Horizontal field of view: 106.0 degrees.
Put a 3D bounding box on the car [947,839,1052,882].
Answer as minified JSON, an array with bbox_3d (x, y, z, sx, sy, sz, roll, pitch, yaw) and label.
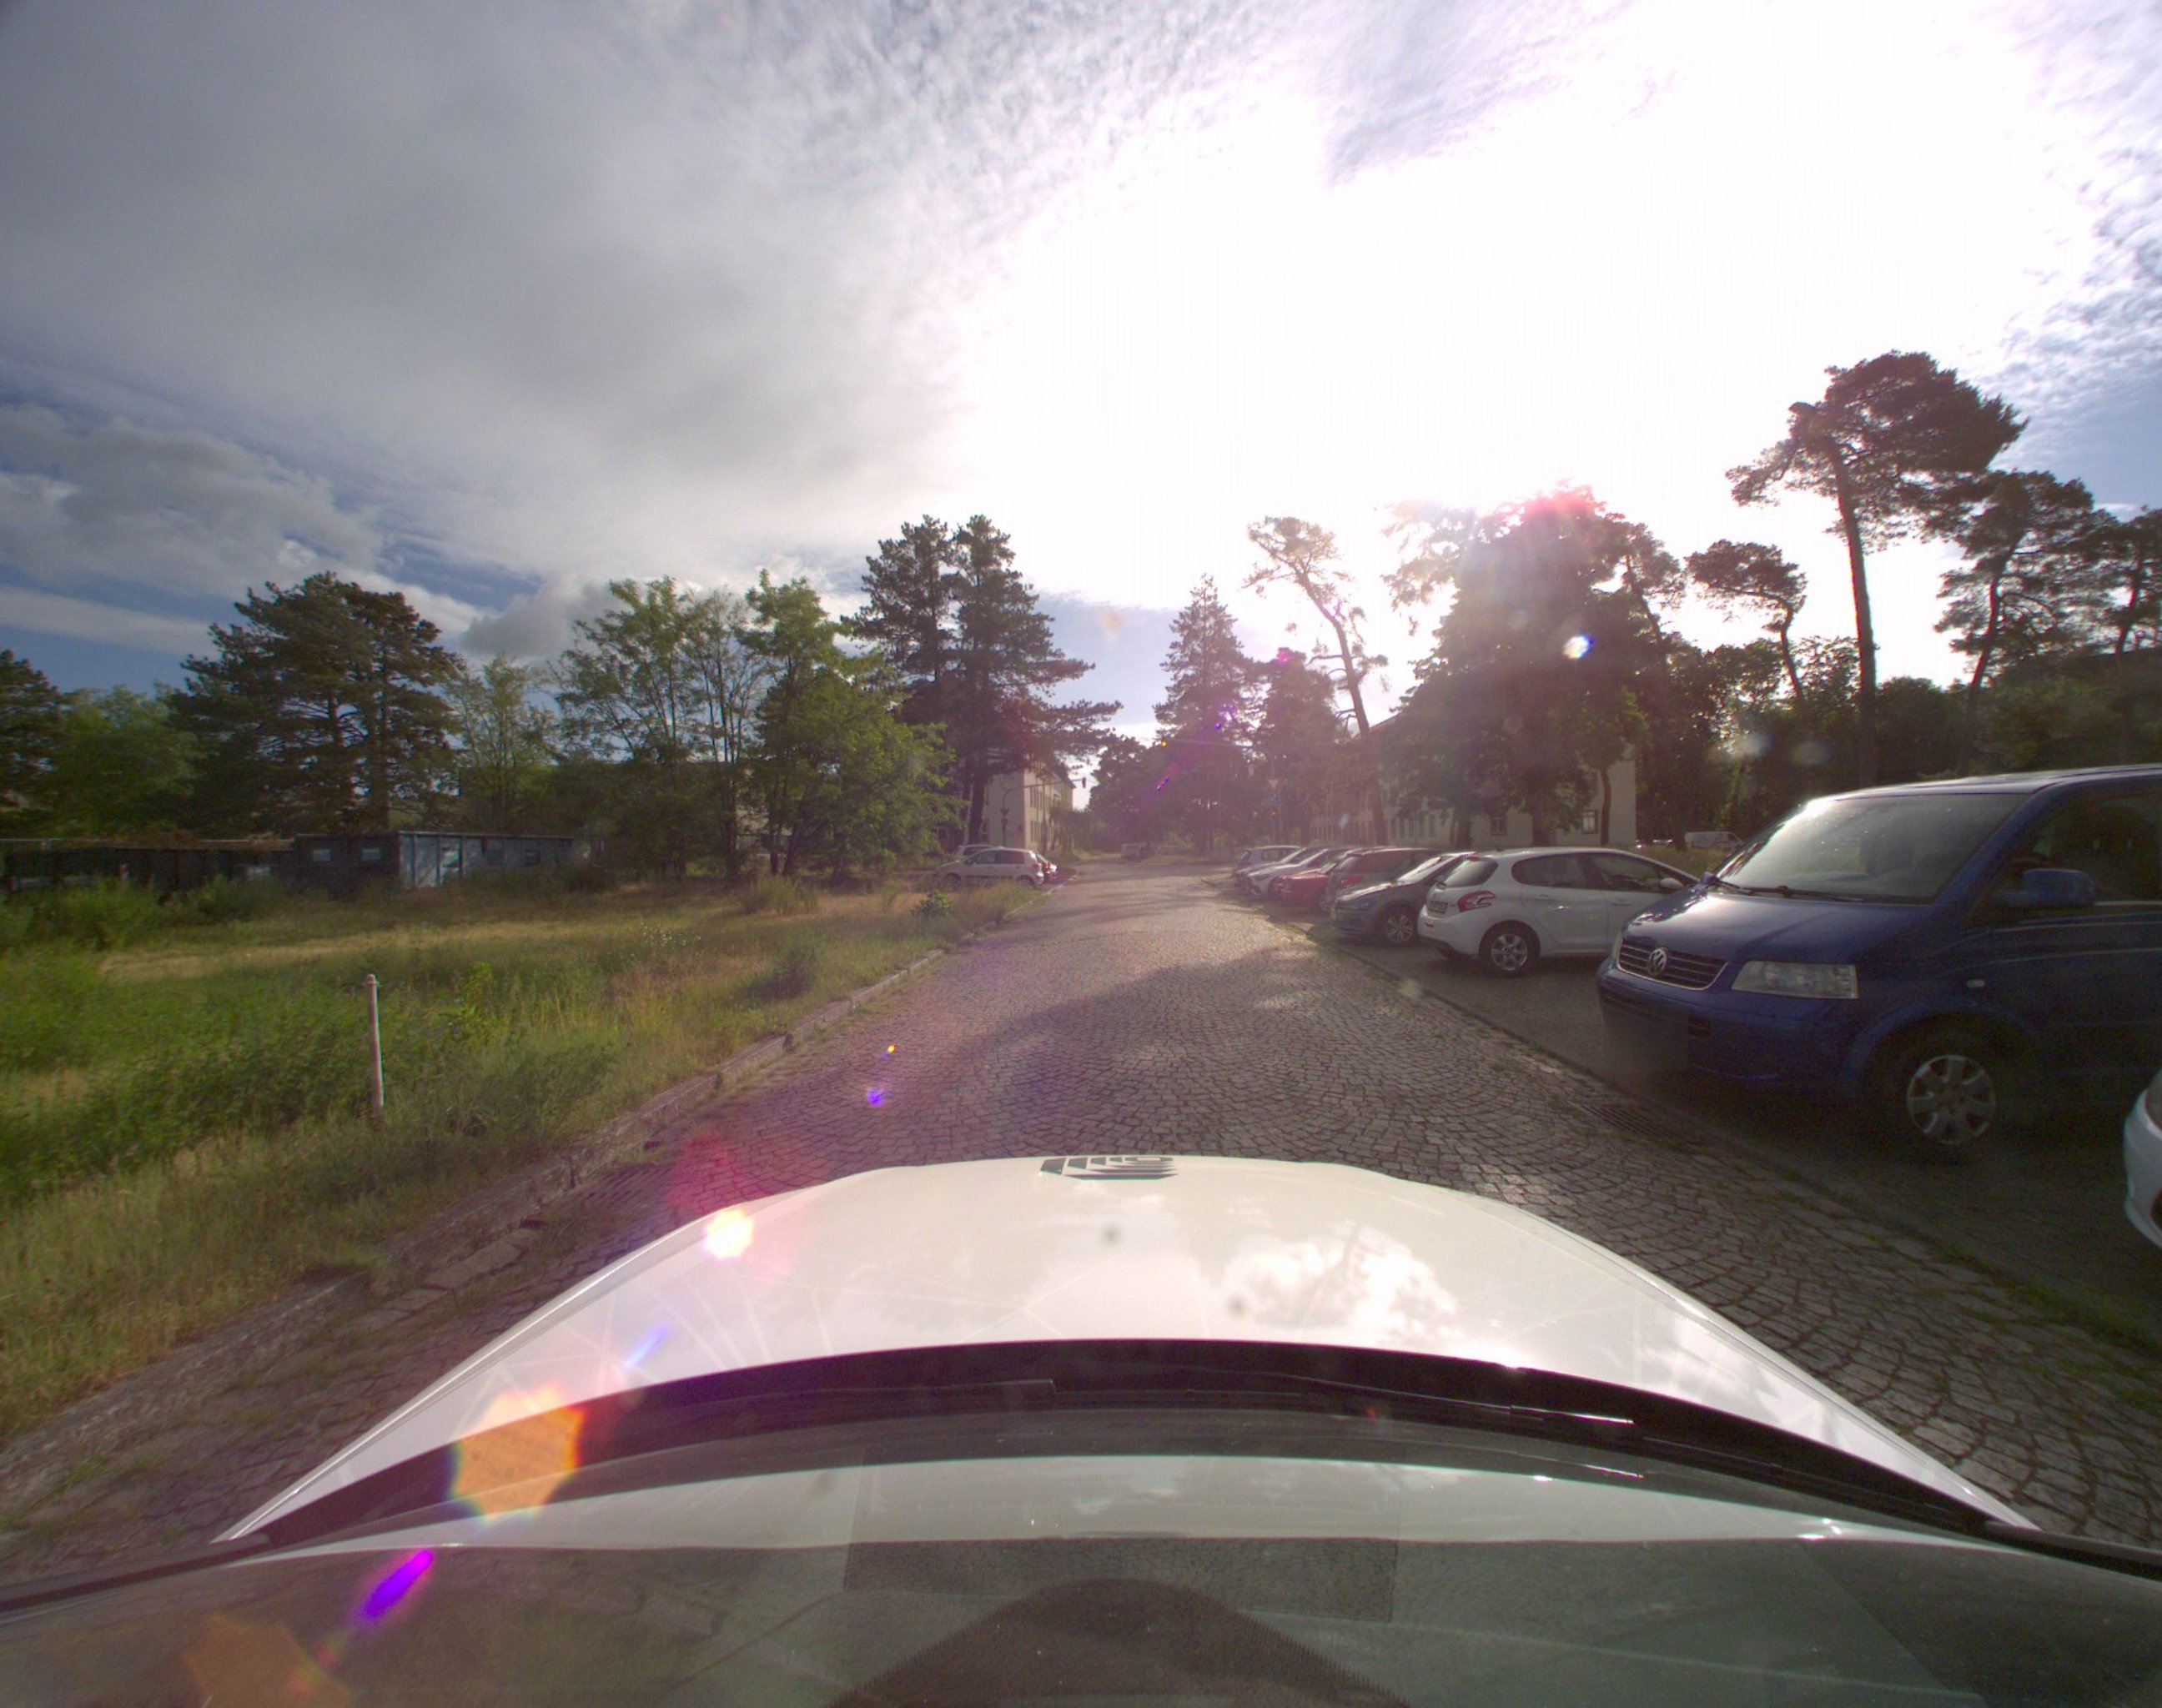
[{"bbox_3d":[-3.311,0.262,33.618,4.110,1.599,1.858,2,0,-2],"label":"car"}]

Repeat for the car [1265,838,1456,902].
[{"bbox_3d":[7.096,0.404,21.008,4.323,1.473,1.741,-2,0,2],"label":"car"}]

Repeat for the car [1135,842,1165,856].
[{"bbox_3d":[7.799,-0.573,92.228,3.032,1.465,1.714,-1,-1,-10],"label":"car"}]

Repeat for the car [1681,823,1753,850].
[{"bbox_3d":[62.005,-1.692,79.453,5.135,2.535,2.267,-1,0,4],"label":"car"}]

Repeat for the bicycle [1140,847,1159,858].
[{"bbox_3d":[6.822,-0.157,80.903,1.786,0.999,0.644,-1,1,1],"label":"bicycle"}]

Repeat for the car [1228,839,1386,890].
[{"bbox_3d":[7.147,0.323,26.063,4.494,1.473,1.894,-2,0,-1],"label":"car"}]

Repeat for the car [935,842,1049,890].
[{"bbox_3d":[-3.021,0.393,28.247,3.670,1.473,1.850,2,0,1],"label":"car"}]

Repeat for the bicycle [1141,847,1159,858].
[{"bbox_3d":[6.768,-0.156,79.883,1.786,0.999,0.644,-1,1,1],"label":"bicycle"}]

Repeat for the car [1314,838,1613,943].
[{"bbox_3d":[5.969,0.547,13.103,3.934,1.467,1.832,-2,0,3],"label":"car"}]

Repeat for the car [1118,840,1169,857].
[{"bbox_3d":[7.327,-0.700,95.821,5.503,1.916,2.246,-1,0,-11],"label":"car"}]

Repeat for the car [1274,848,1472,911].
[{"bbox_3d":[6.577,0.563,18.649,3.934,1.261,1.728,-2,0,3],"label":"car"}]

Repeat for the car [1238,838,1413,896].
[{"bbox_3d":[6.884,0.355,23.291,4.488,1.473,1.851,-2,0,2],"label":"car"}]

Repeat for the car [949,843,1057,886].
[{"bbox_3d":[-2.912,0.379,30.902,3.814,1.429,1.860,2,0,2],"label":"car"}]

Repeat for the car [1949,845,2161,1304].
[{"bbox_3d":[5.565,0.664,2.381,4.178,1.469,1.807,-2,0,-1],"label":"car"}]

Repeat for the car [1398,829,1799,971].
[{"bbox_3d":[6.252,0.531,10.229,3.858,1.530,1.809,-2,0,3],"label":"car"}]

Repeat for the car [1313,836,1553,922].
[{"bbox_3d":[6.767,0.473,15.997,3.934,1.495,1.774,-2,0,3],"label":"car"}]

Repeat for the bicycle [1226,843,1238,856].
[{"bbox_3d":[12.126,-0.332,65.450,0.560,0.999,1.751,-1,1,-1],"label":"bicycle"}]

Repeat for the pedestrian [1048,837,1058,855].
[{"bbox_3d":[-3.205,-0.923,92.687,0.981,1.963,0.933,-1,0,2],"label":"pedestrian"}]

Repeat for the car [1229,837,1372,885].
[{"bbox_3d":[7.641,0.246,28.672,4.528,1.505,1.933,-2,0,1],"label":"car"}]

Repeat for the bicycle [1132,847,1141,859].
[{"bbox_3d":[5.206,-0.094,76.355,0.725,0.999,1.800,-1,1,3],"label":"bicycle"}]

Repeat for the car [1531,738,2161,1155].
[{"bbox_3d":[5.645,0.386,4.892,4.714,1.928,1.993,-3,0,2],"label":"car"}]

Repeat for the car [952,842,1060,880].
[{"bbox_3d":[-3.261,0.300,36.163,4.571,1.455,1.904,2,2,0],"label":"car"}]
